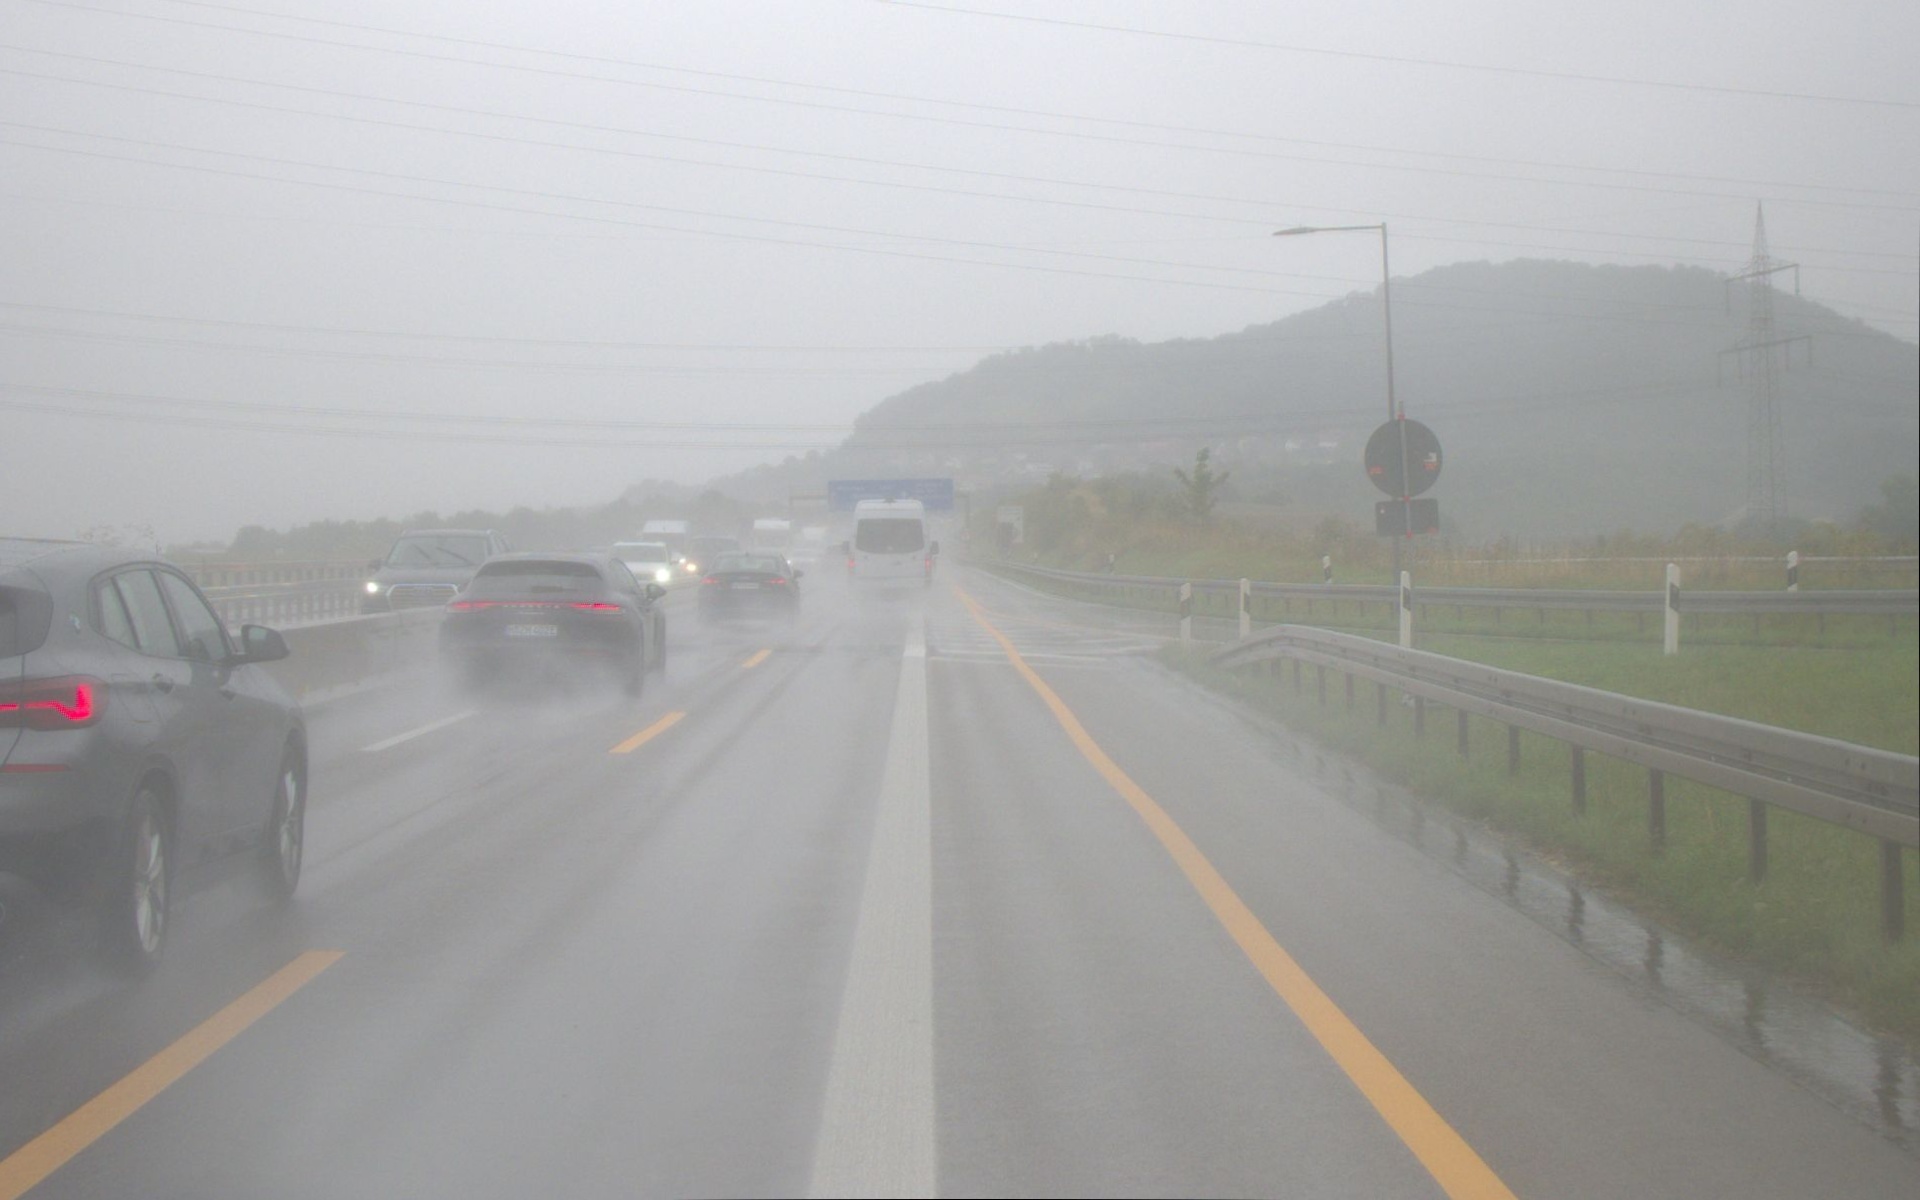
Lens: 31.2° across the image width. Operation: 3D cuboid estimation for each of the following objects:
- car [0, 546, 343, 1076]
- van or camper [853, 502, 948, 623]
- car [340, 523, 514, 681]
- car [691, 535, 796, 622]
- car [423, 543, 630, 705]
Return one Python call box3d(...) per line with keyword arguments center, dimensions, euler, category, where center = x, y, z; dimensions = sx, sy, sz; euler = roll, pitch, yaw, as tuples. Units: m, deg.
box3d(center=(-3.563, 0.645, 12.774), dimensions=(1.701, 1.592, 4.845), euler=(1, 0, -1), category="car")
box3d(center=(-1.446, -0.858, 81.976), dimensions=(1.996, 2.768, 4.050), euler=(1, 0, -5), category="van or camper")
box3d(center=(-7.327, -0.010, 47.617), dimensions=(1.811, 2.088, 4.163), euler=(0, 1, -1), category="car")
box3d(center=(-4.023, -0.422, 63.798), dimensions=(1.844, 1.486, 4.262), euler=(-2, 1, -4), category="car")
box3d(center=(-4.250, 0.241, 34.236), dimensions=(1.844, 1.486, 4.262), euler=(1, 0, -5), category="car")
